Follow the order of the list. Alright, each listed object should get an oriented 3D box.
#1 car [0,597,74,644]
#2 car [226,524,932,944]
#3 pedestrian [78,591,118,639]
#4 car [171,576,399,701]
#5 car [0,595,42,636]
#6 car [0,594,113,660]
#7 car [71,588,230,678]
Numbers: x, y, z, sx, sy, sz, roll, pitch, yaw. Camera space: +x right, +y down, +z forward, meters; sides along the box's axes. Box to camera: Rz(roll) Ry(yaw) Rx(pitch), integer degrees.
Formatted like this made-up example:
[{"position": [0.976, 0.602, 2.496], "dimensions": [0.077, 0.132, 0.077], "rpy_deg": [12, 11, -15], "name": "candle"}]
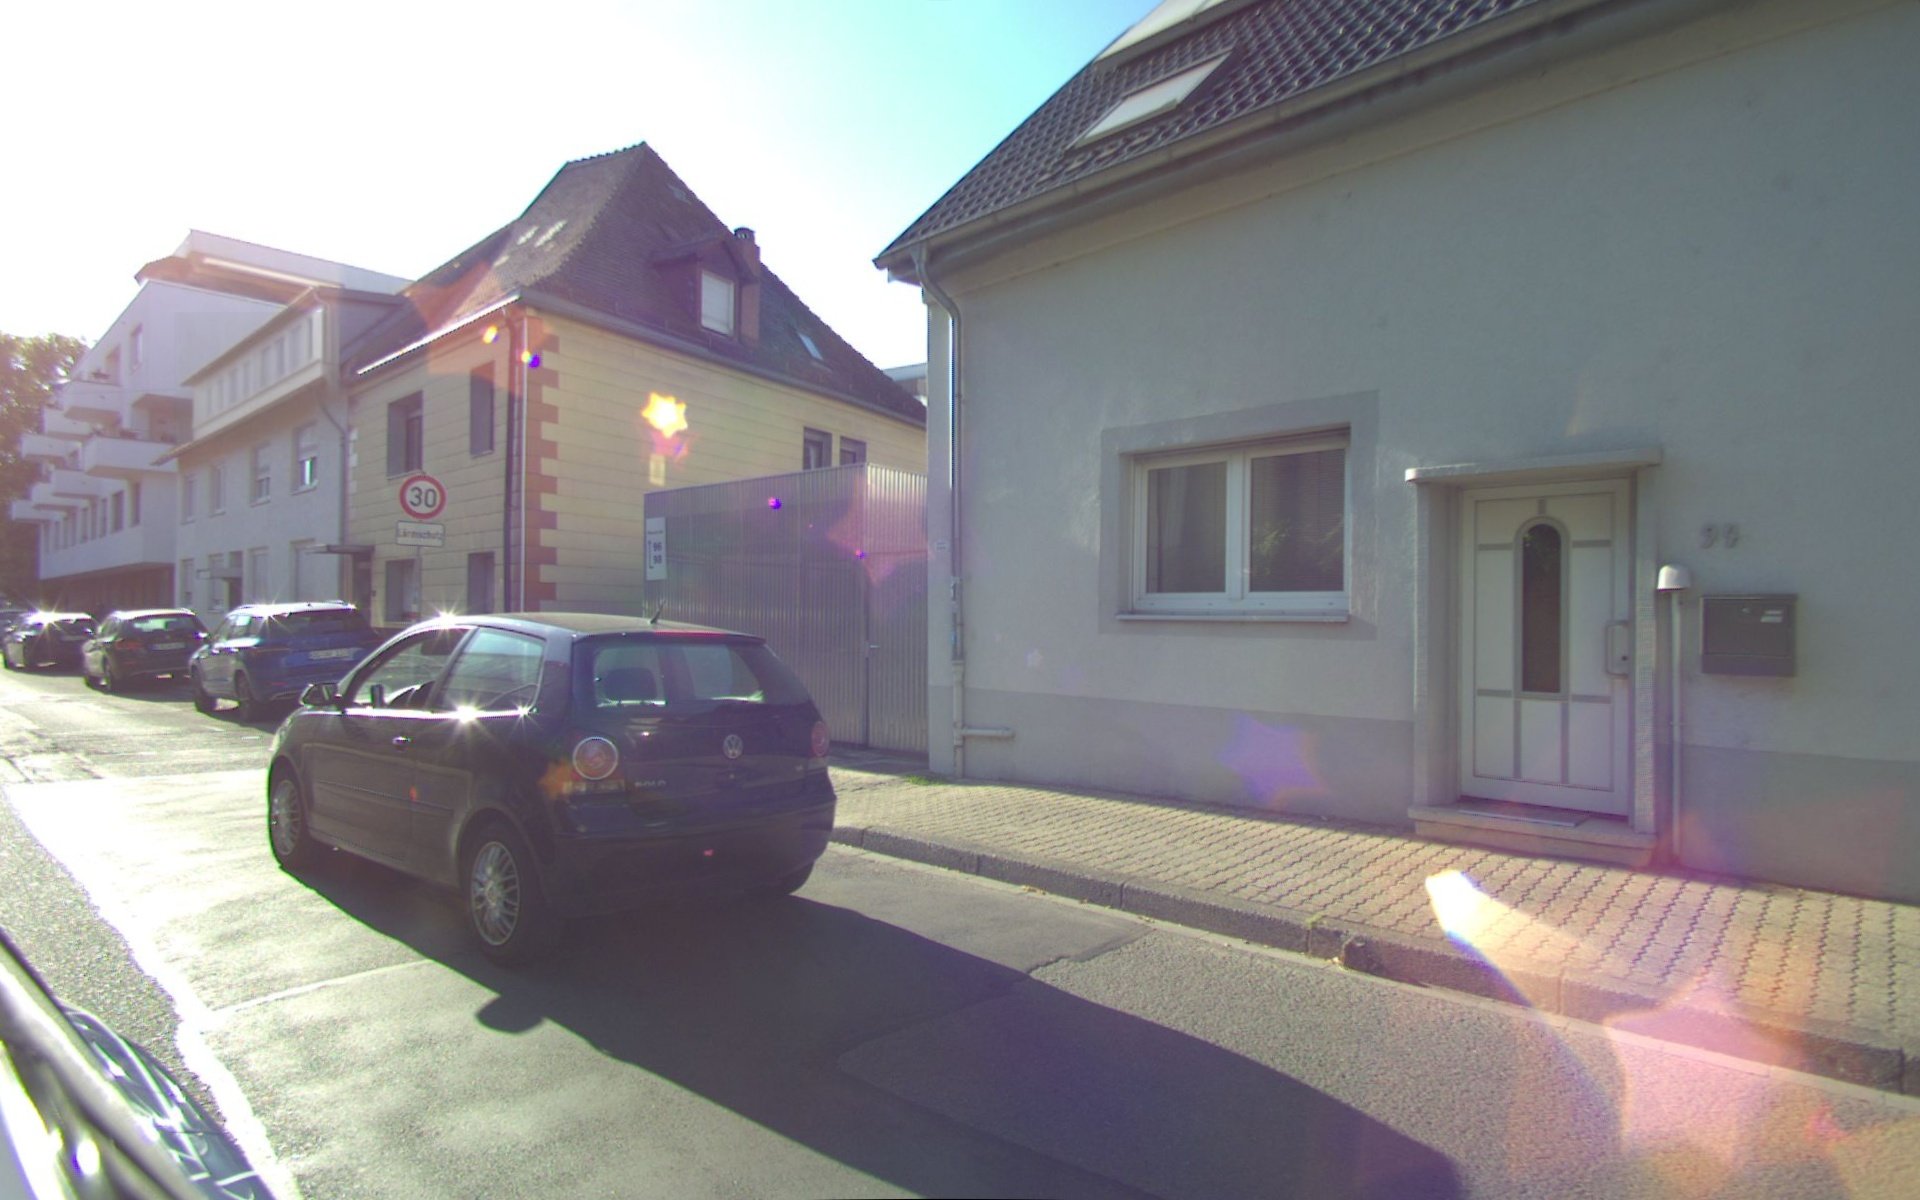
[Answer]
[{"position": [-34.172, 0.712, 37.300], "dimensions": [3.854, 1.547, 1.651], "rpy_deg": [1, 3, 40], "name": "car"}, {"position": [-2.327, 0.461, 5.644], "dimensions": [4.140, 1.502, 1.824], "rpy_deg": [1, 0, 39], "name": "car"}, {"position": [-35.086, 0.589, 41.187], "dimensions": [0.849, 1.832, 1.136], "rpy_deg": [-4, 3, -26], "name": "pedestrian"}, {"position": [-10.359, 0.528, 15.422], "dimensions": [4.190, 1.599, 1.790], "rpy_deg": [-1, 2, 41], "name": "car"}, {"position": [-41.111, 0.628, 43.326], "dimensions": [4.615, 1.598, 1.840], "rpy_deg": [1, 3, 38], "name": "car"}, {"position": [-24.789, 0.678, 27.558], "dimensions": [4.328, 1.546, 1.669], "rpy_deg": [1, 3, 37], "name": "car"}, {"position": [-16.949, 0.625, 21.108], "dimensions": [4.334, 1.599, 1.838], "rpy_deg": [-1, 2, 42], "name": "car"}]
